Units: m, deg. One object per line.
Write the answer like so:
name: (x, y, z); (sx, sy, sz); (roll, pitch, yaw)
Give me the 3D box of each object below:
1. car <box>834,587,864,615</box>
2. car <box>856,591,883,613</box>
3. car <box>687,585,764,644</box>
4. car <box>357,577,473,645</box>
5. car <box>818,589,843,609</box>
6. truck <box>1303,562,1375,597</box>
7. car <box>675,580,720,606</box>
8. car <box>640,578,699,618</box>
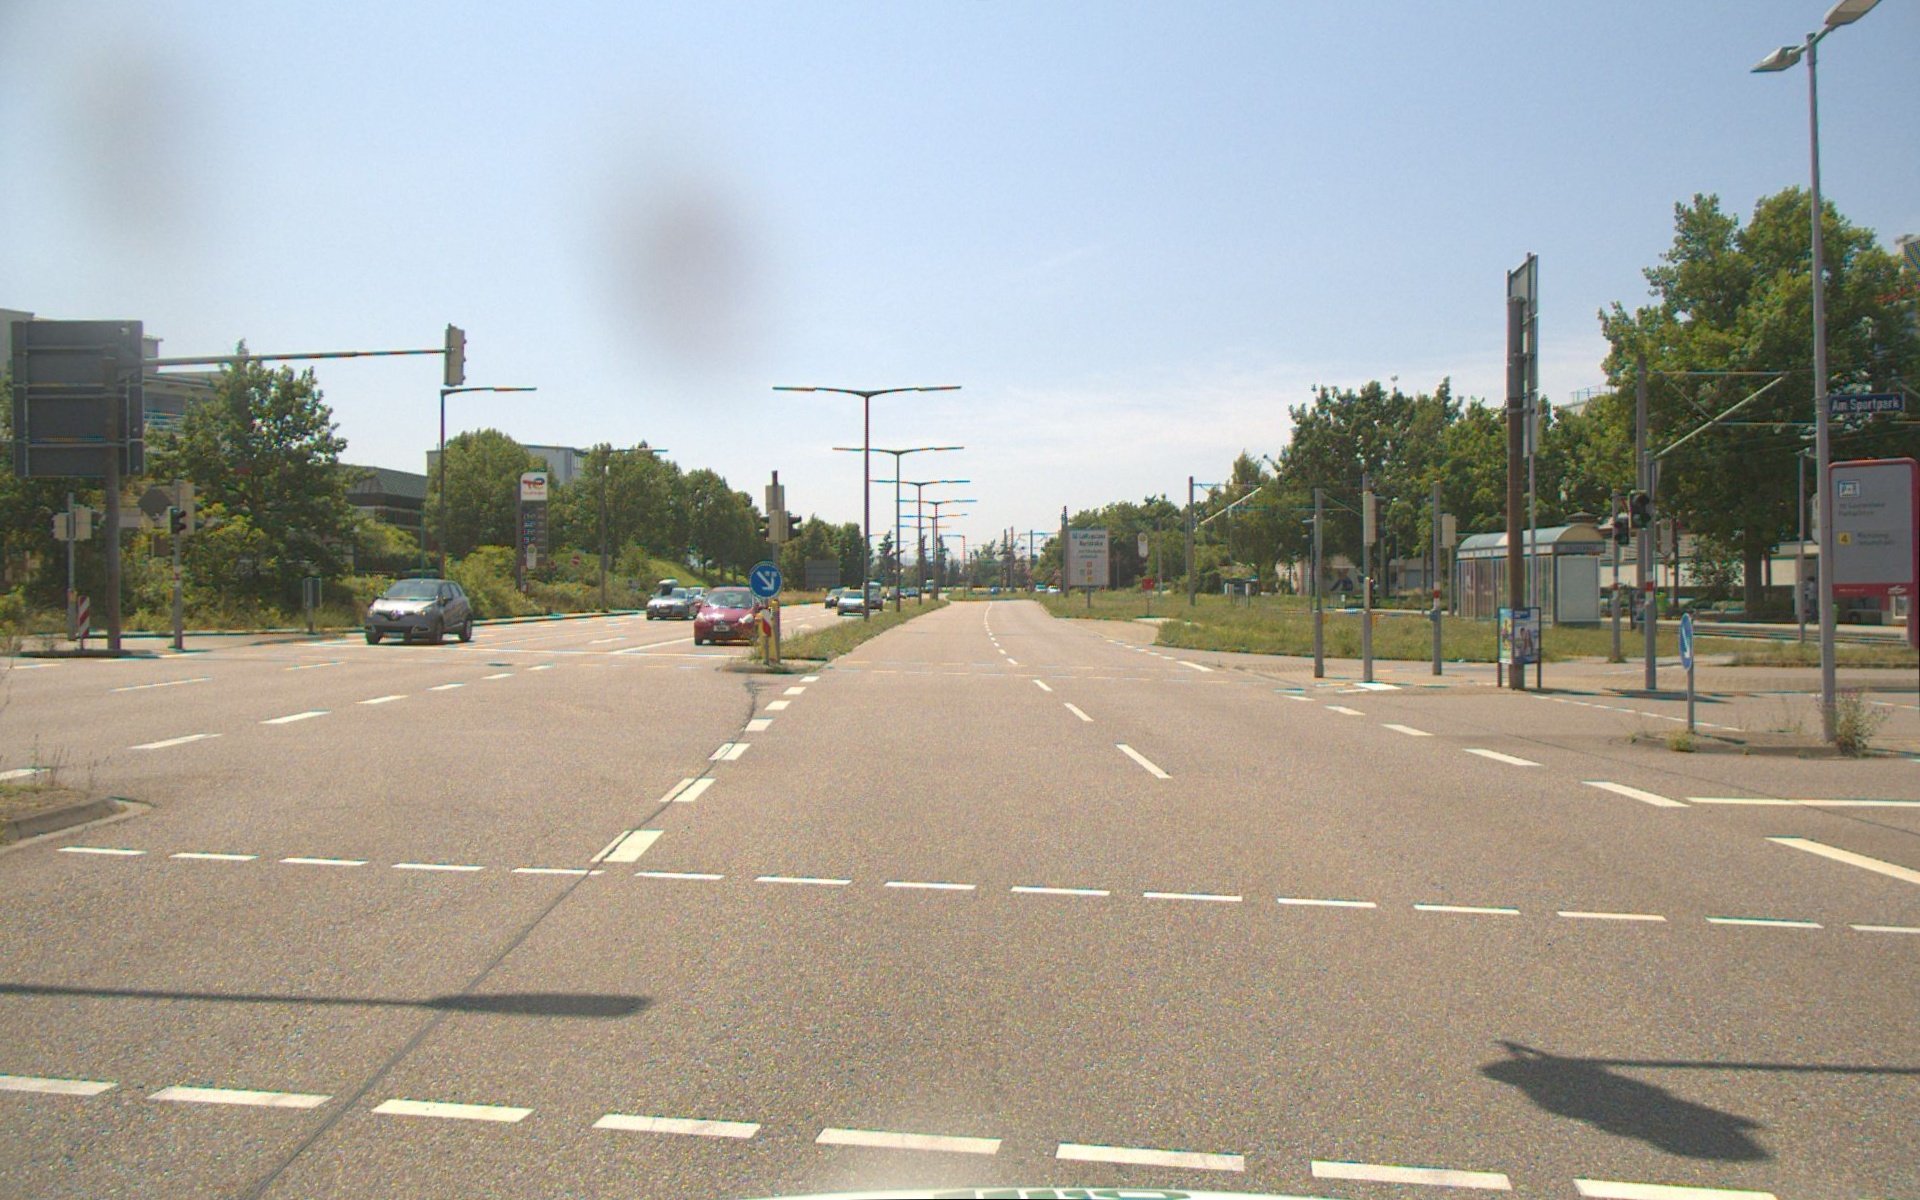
car: (-6.205, 0.045, 93.095); (1.529, 1.448, 3.853); (0, 1, -2)
car: (-6.105, 0.127, 111.433); (1.642, 1.459, 4.190); (0, 0, -1)
car: (-6.294, 0.357, 44.692); (1.625, 1.516, 3.999); (0, 1, -2)
car: (-13.567, 0.250, 41.394); (1.625, 1.566, 3.999); (2, 0, -2)
car: (-9.789, -0.104, 125.240); (1.604, 1.454, 4.051); (0, 0, 0)
truck: (33.914, -1.825, 148.062); (5.730, 2.893, 2.316); (-2, 0, -8)
car: (-15.287, -0.420, 96.367); (1.784, 1.475, 3.829); (0, 0, 4)
car: (-13.254, -0.110, 75.625); (1.925, 1.780, 5.021); (0, 1, -2)
